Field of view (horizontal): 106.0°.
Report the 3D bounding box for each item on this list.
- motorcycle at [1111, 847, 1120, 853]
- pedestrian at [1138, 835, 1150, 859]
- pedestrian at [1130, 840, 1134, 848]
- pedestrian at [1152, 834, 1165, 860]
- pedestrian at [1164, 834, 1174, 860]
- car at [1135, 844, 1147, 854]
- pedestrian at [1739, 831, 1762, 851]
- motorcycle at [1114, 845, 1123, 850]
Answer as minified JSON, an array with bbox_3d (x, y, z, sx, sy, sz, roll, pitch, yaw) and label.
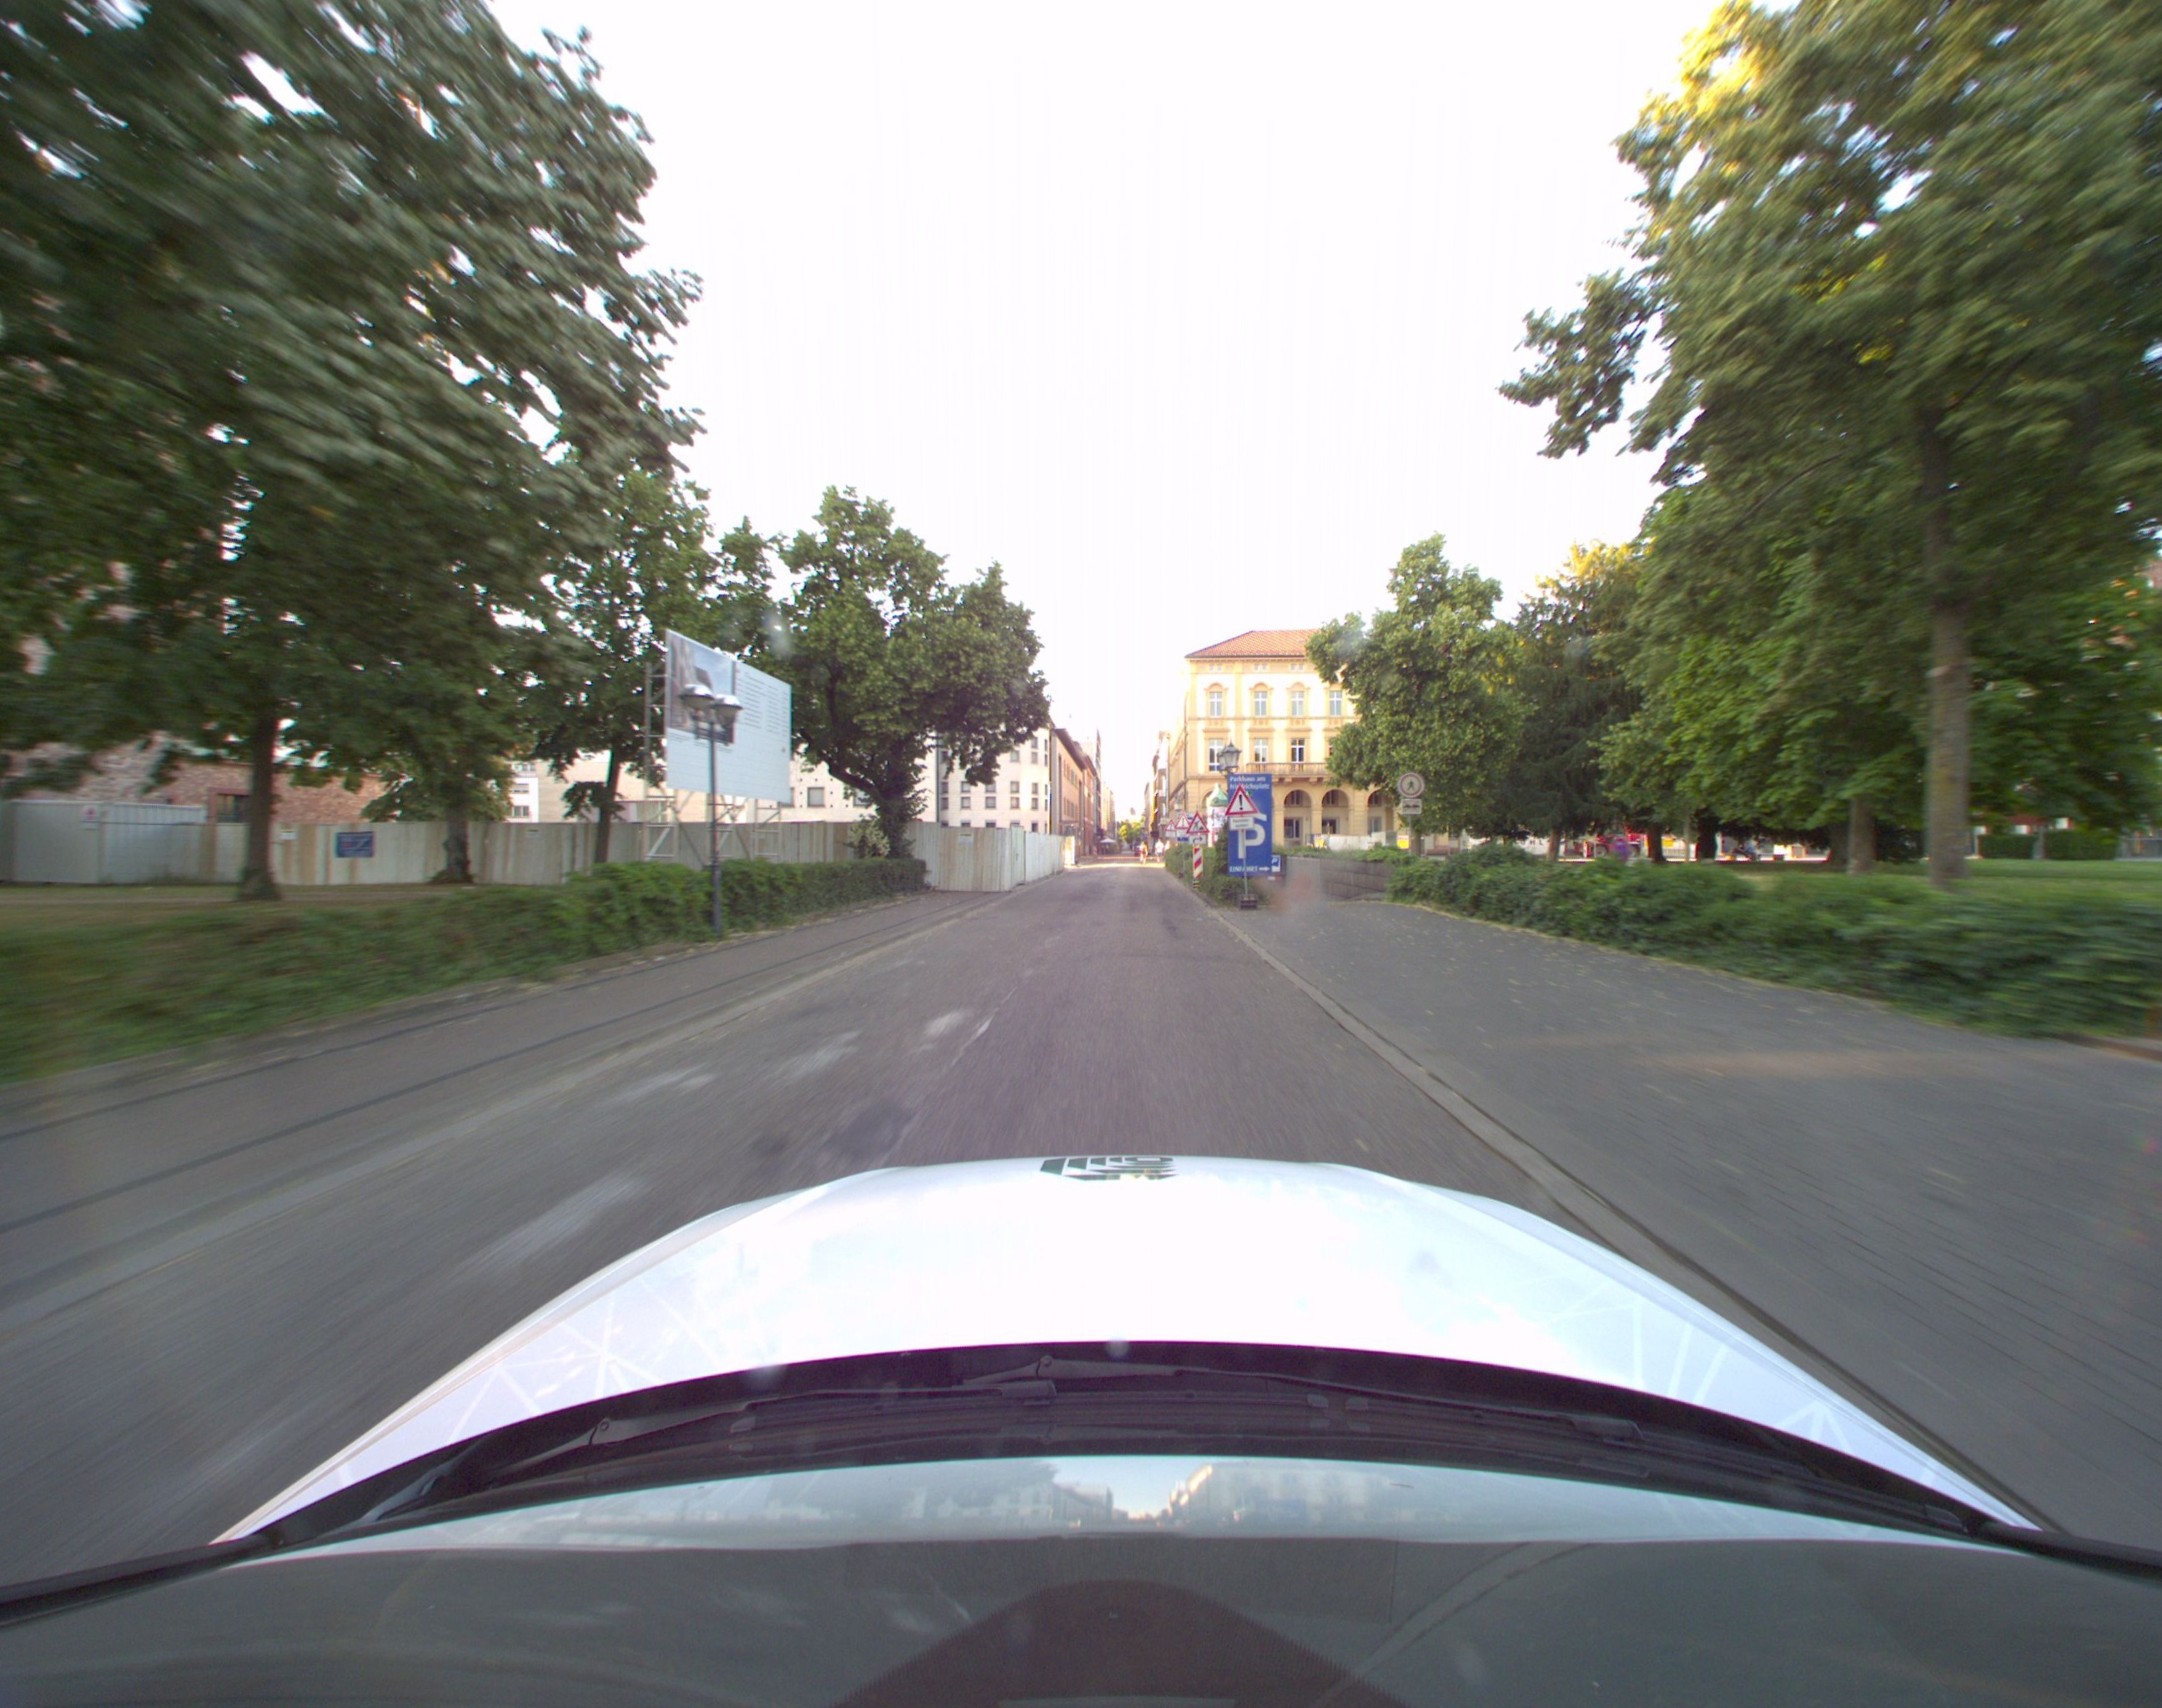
[{"bbox_3d":[6.488,-0.795,153.164,1.796,1.040,0.493,-1,1,-1],"label":"motorcycle"},{"bbox_3d":[4.574,-0.524,59.327,0.772,1.746,0.875,-1,0,2],"label":"pedestrian"},{"bbox_3d":[11.364,-2.260,181.649,0.801,1.672,0.890,-1,1,5],"label":"pedestrian"},{"bbox_3d":[5.652,-0.534,59.407,0.808,1.875,0.875,-1,0,2],"label":"pedestrian"},{"bbox_3d":[6.271,-0.484,58.168,0.634,1.803,0.772,-1,0,2],"label":"pedestrian"},{"bbox_3d":[8.926,-0.731,121.397,1.642,1.427,3.539,2,1,4],"label":"car"},{"bbox_3d":[42.999,-0.852,52.334,0.705,1.252,0.926,-1,1,-1],"label":"pedestrian"},{"bbox_3d":[7.413,-1.272,161.343,1.796,0.875,0.560,0,0,-1],"label":"motorcycle"}]
